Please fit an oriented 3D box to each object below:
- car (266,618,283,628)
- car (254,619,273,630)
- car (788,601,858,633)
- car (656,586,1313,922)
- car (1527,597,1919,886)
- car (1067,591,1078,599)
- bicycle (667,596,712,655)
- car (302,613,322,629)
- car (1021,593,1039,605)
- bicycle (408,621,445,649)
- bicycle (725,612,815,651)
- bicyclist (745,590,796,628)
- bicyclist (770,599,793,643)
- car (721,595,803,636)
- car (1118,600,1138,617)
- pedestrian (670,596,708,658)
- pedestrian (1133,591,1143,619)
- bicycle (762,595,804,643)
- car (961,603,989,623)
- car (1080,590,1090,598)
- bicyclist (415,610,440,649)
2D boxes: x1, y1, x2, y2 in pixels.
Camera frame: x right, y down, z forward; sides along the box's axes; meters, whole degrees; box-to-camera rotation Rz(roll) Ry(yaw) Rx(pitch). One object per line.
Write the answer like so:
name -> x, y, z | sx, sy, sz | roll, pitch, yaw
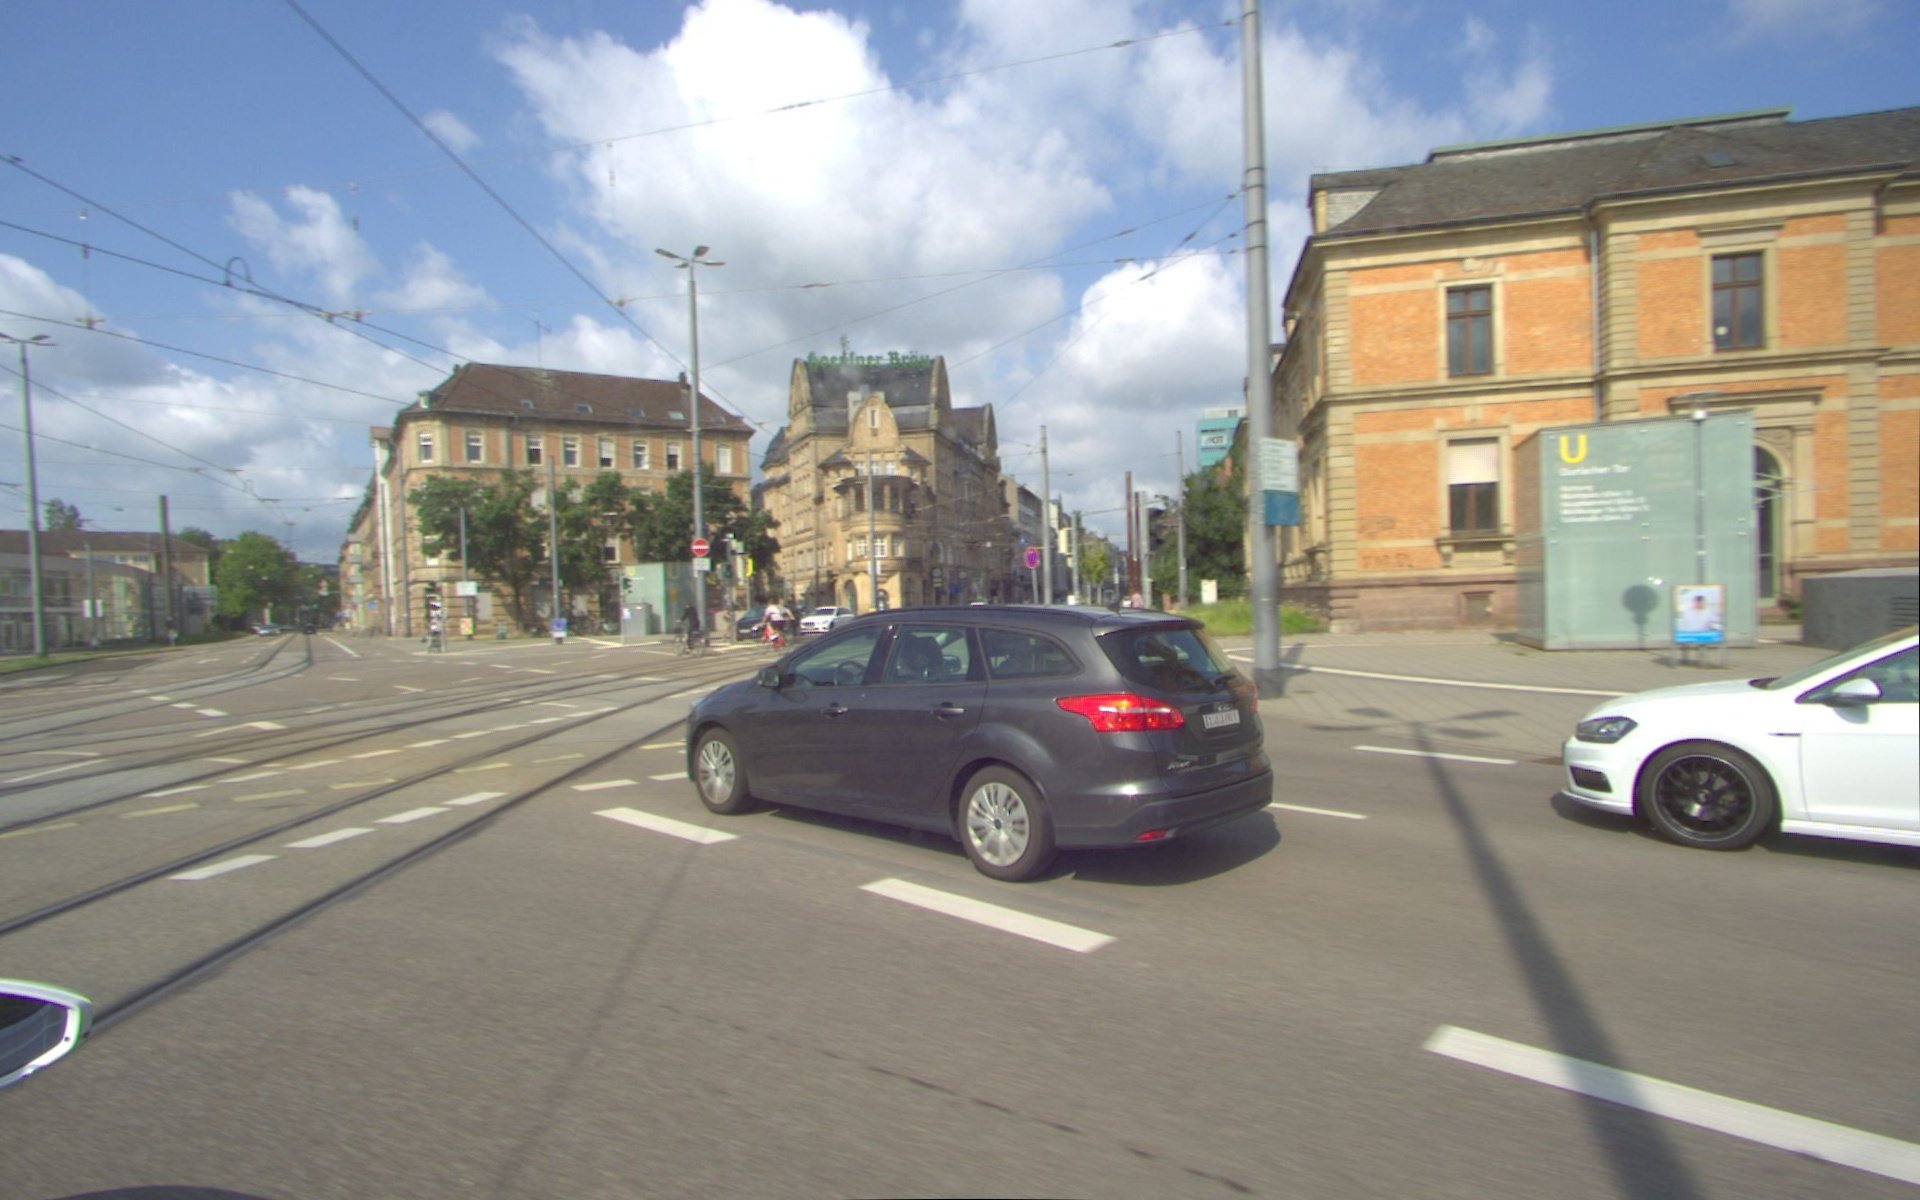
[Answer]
car -> -101.395, 3.387, 148.081 | 1.975, 1.510, 3.972 | 1, -1, -36
car -> -95.024, 3.377, 136.637 | 1.974, 1.350, 3.972 | -2, 1, -36
car -> -7.114, 0.856, 52.429 | 1.963, 1.617, 4.679 | 0, 0, 15
car -> -0.056, 0.707, 6.644 | 4.205, 1.549, 1.759 | 0, 1, 40
car -> 5.766, 0.816, 5.630 | 4.185, 1.464, 1.671 | 2, -2, 43
car -> 22.341, -1.015, 198.423 | 1.817, 1.559, 3.817 | -2, 0, 13
bicycle -> -8.404, 0.792, 31.055 | 0.992, 1.747, 2.462 | 1, -2, -23
car -> -89.259, 2.838, 137.881 | 1.971, 2.040, 3.980 | -2, 1, -30
car -> 9.723, -0.138, 138.728 | 1.817, 1.559, 3.817 | -2, 0, 13
bicycle -> -23.344, 1.513, 43.790 | 0.891, 1.186, 2.658 | 0, 0, -40
bicycle -> -5.732, 0.969, 30.082 | 3.075, 1.040, 0.988 | -3, -5, 42
bicyclist -> -5.682, 0.292, 30.080 | 1.202, 1.040, 0.986 | -4, -5, 41
bicyclist -> -6.982, 0.822, 39.080 | 0.648, 1.692, 0.570 | 0, -2, 39
car -> -9.051, 0.766, 46.198 | 1.963, 1.761, 4.339 | 0, -2, 15
car -> 18.151, 0.957, 108.284 | 1.724, 1.549, 3.999 | 2, -2, 15
pedestrian -> -8.415, 0.840, 31.054 | 0.979, 1.865, 0.993 | 1, -1, -23
pedestrian -> 9.762, 0.276, 54.998 | 0.497, 1.525, 0.499 | -2, 1, 8
bicycle -> -6.909, 0.744, 39.079 | 1.617, 1.800, 0.727 | 0, -2, 39
car -> 1.386, 1.154, 90.706 | 1.817, 1.683, 3.999 | 1, -2, 13
car -> 27.611, -1.365, 221.566 | 1.817, 1.559, 3.817 | -2, 0, 13
bicyclist -> -23.294, 1.295, 43.799 | 0.777, 1.680, 1.187 | 0, 0, -40
